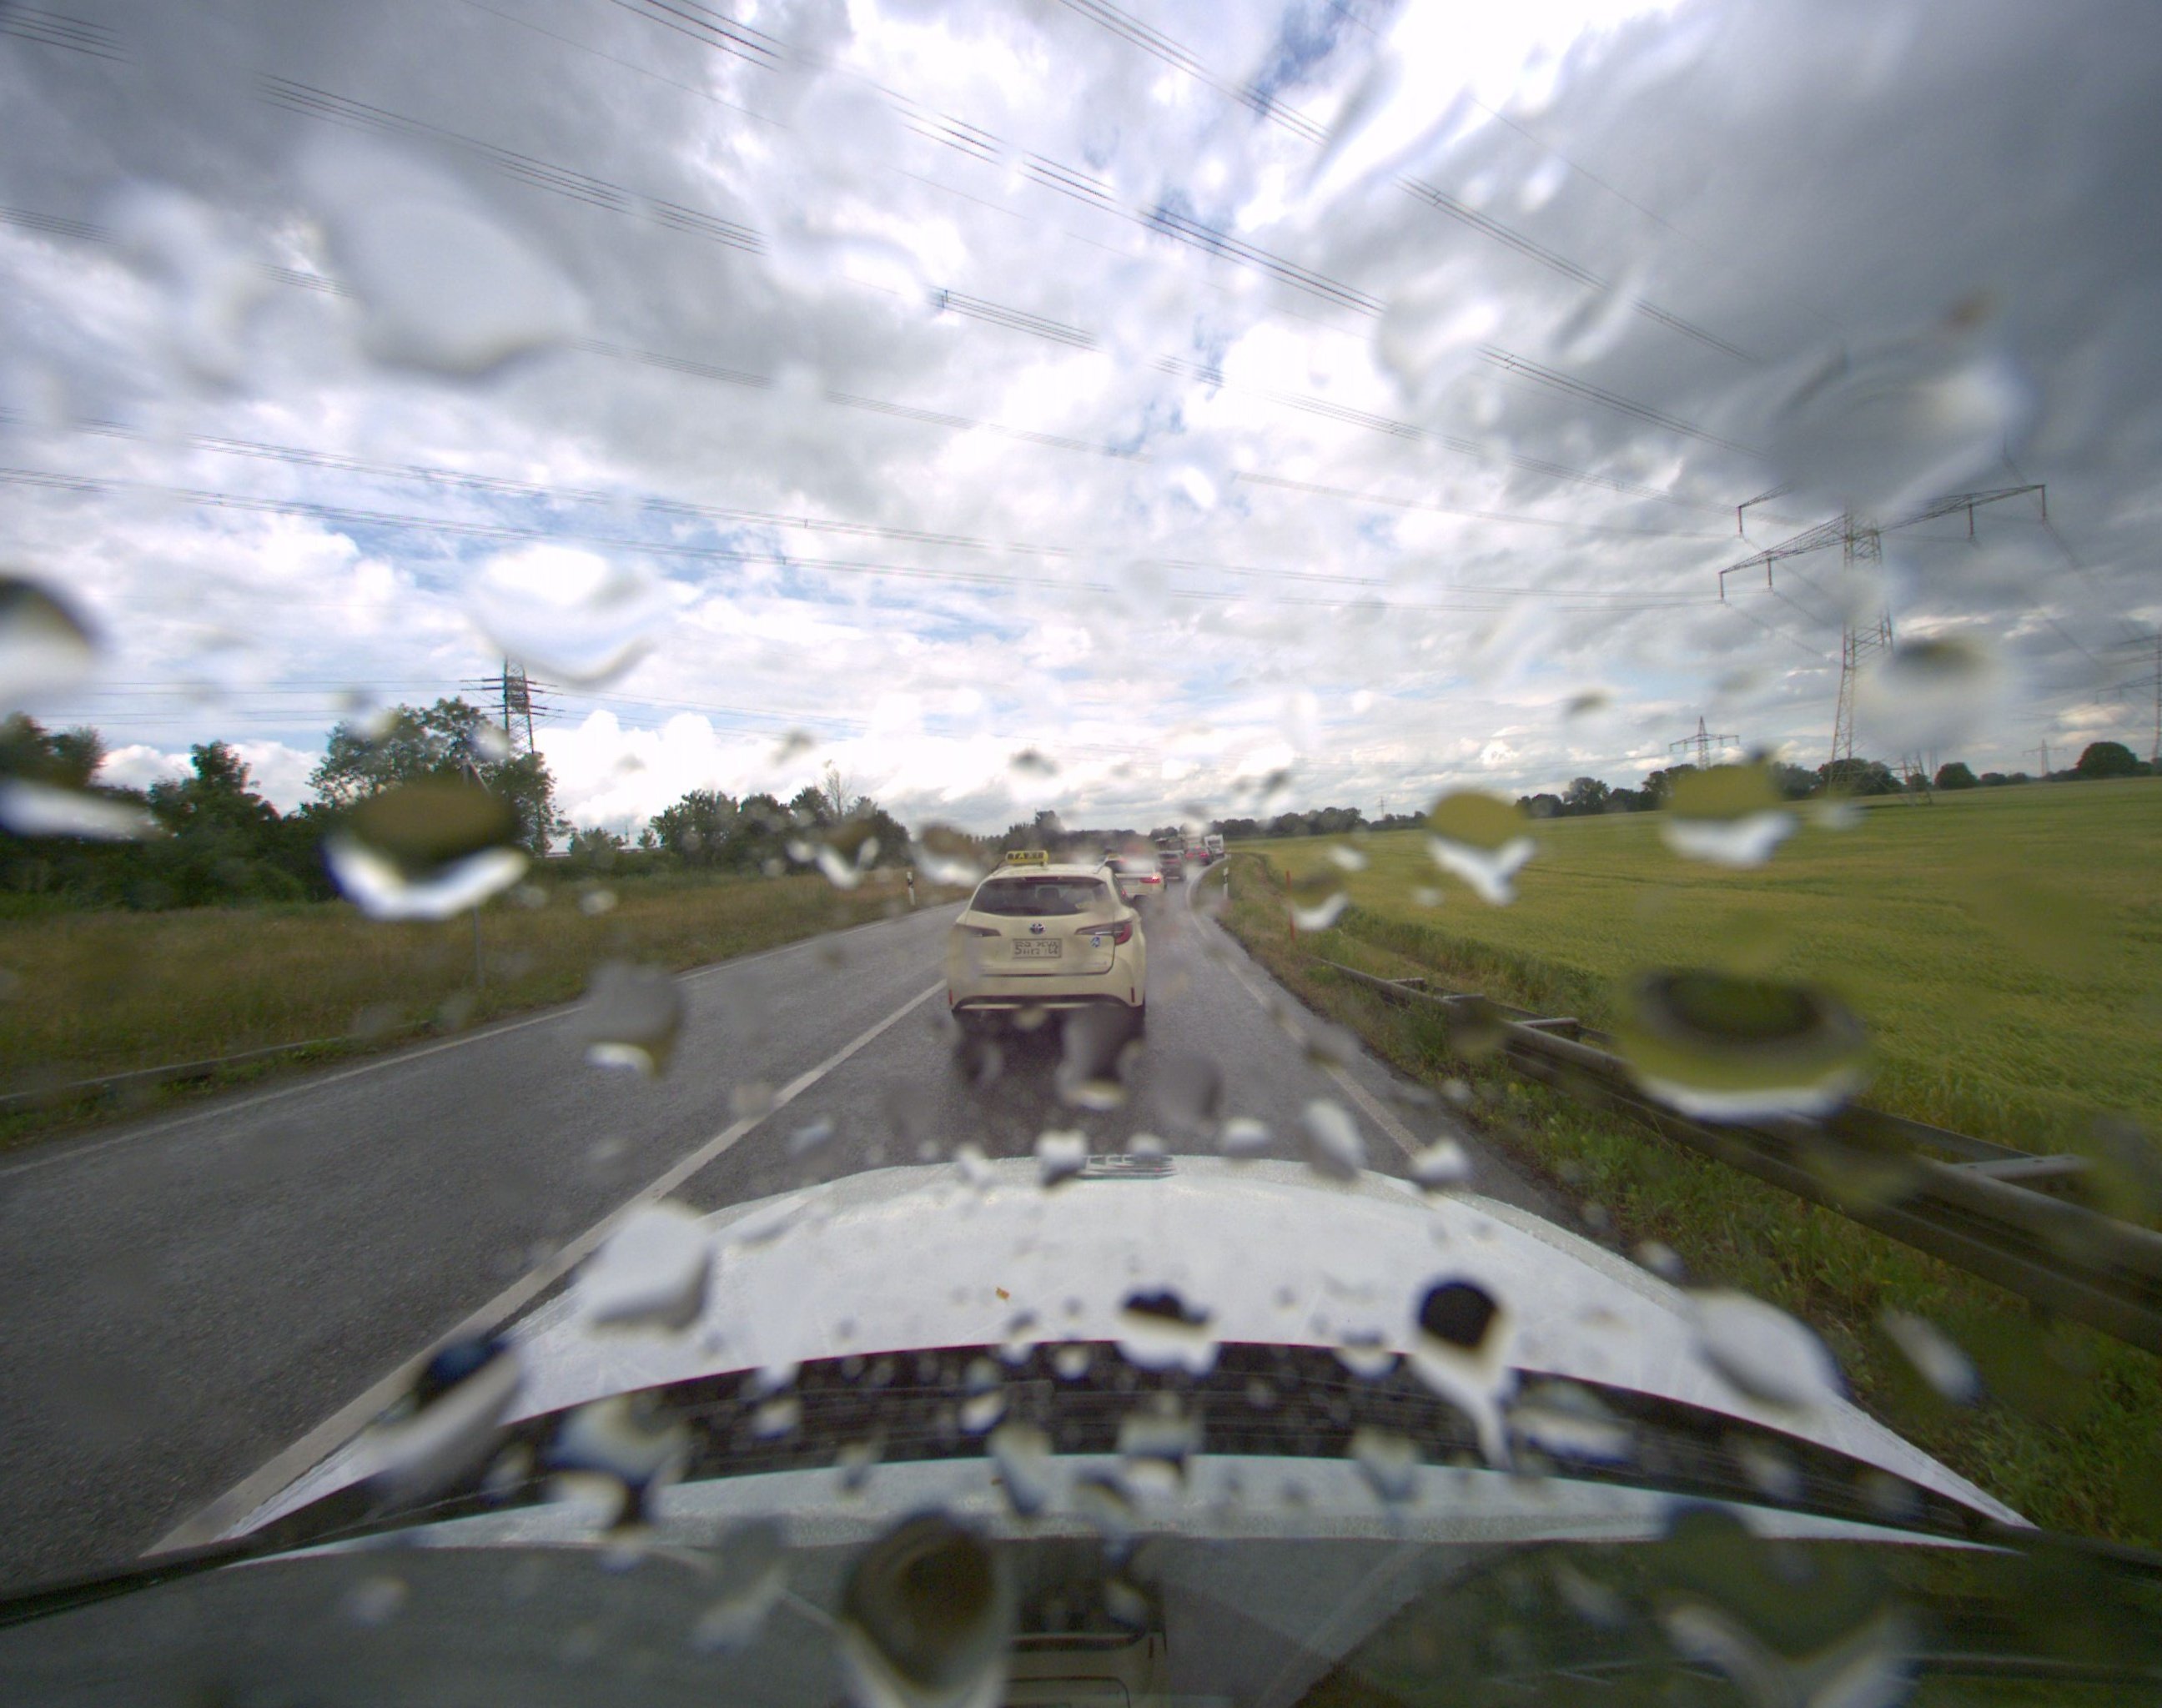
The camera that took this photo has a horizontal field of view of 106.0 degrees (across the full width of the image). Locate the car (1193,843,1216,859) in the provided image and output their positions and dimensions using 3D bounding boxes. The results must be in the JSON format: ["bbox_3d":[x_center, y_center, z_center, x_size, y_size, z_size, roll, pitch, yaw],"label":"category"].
[{"bbox_3d":[11.907,-0.289,78.389,1.812,1.413,3.753,-1,-1,15],"label":"car"}]

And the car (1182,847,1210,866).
[{"bbox_3d":[9.388,0.223,66.465,1.947,1.413,4.406,-1,-1,12],"label":"car"}]

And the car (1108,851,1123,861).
[{"bbox_3d":[7.216,0.398,171.625,1.997,2.014,3.980,0,-1,-14],"label":"car"}]

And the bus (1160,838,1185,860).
[{"bbox_3d":[14.130,-0.770,126.424,2.748,3.297,12.507,-1,0,2],"label":"bus"}]

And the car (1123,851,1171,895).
[{"bbox_3d":[2.687,0.748,32.570,1.603,1.659,3.748,-1,-1,9],"label":"car"}]

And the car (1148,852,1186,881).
[{"bbox_3d":[4.480,0.635,42.185,1.602,1.413,3.750,-1,-1,11],"label":"car"}]

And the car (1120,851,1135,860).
[{"bbox_3d":[9.841,0.311,172.419,1.843,1.859,4.068,0,-1,-14],"label":"car"}]

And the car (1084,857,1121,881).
[{"bbox_3d":[1.379,0.891,49.978,1.620,1.397,4.331,-1,-1,10],"label":"car"}]

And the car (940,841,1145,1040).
[{"bbox_3d":[-0.168,0.717,8.344,1.605,1.562,3.743,-1,-1,4],"label":"car"}]

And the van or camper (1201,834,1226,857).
[{"bbox_3d":[16.932,-1.068,104.529,2.525,2.896,6.750,-1,0,4],"label":"van or camper"}]

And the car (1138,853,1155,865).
[{"bbox_3d":[11.781,0.917,147.061,1.995,2.014,4.133,0,-1,-12],"label":"car"}]

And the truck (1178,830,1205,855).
[{"bbox_3d":[17.865,-1.876,132.466,3.119,3.852,7.379,-1,-1,-2],"label":"truck"}]

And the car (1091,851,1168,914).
[{"bbox_3d":[1.429,0.694,22.226,1.831,1.492,4.617,-1,0,7],"label":"car"}]

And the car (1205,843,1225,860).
[{"bbox_3d":[14.671,-0.268,89.169,1.947,1.729,3.750,-1,-1,12],"label":"car"}]

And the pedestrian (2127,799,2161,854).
[{"bbox_3d":[41.054,-1.049,29.160,1.989,2.014,3.996,-1,-1,-2],"label":"pedestrian"}]
